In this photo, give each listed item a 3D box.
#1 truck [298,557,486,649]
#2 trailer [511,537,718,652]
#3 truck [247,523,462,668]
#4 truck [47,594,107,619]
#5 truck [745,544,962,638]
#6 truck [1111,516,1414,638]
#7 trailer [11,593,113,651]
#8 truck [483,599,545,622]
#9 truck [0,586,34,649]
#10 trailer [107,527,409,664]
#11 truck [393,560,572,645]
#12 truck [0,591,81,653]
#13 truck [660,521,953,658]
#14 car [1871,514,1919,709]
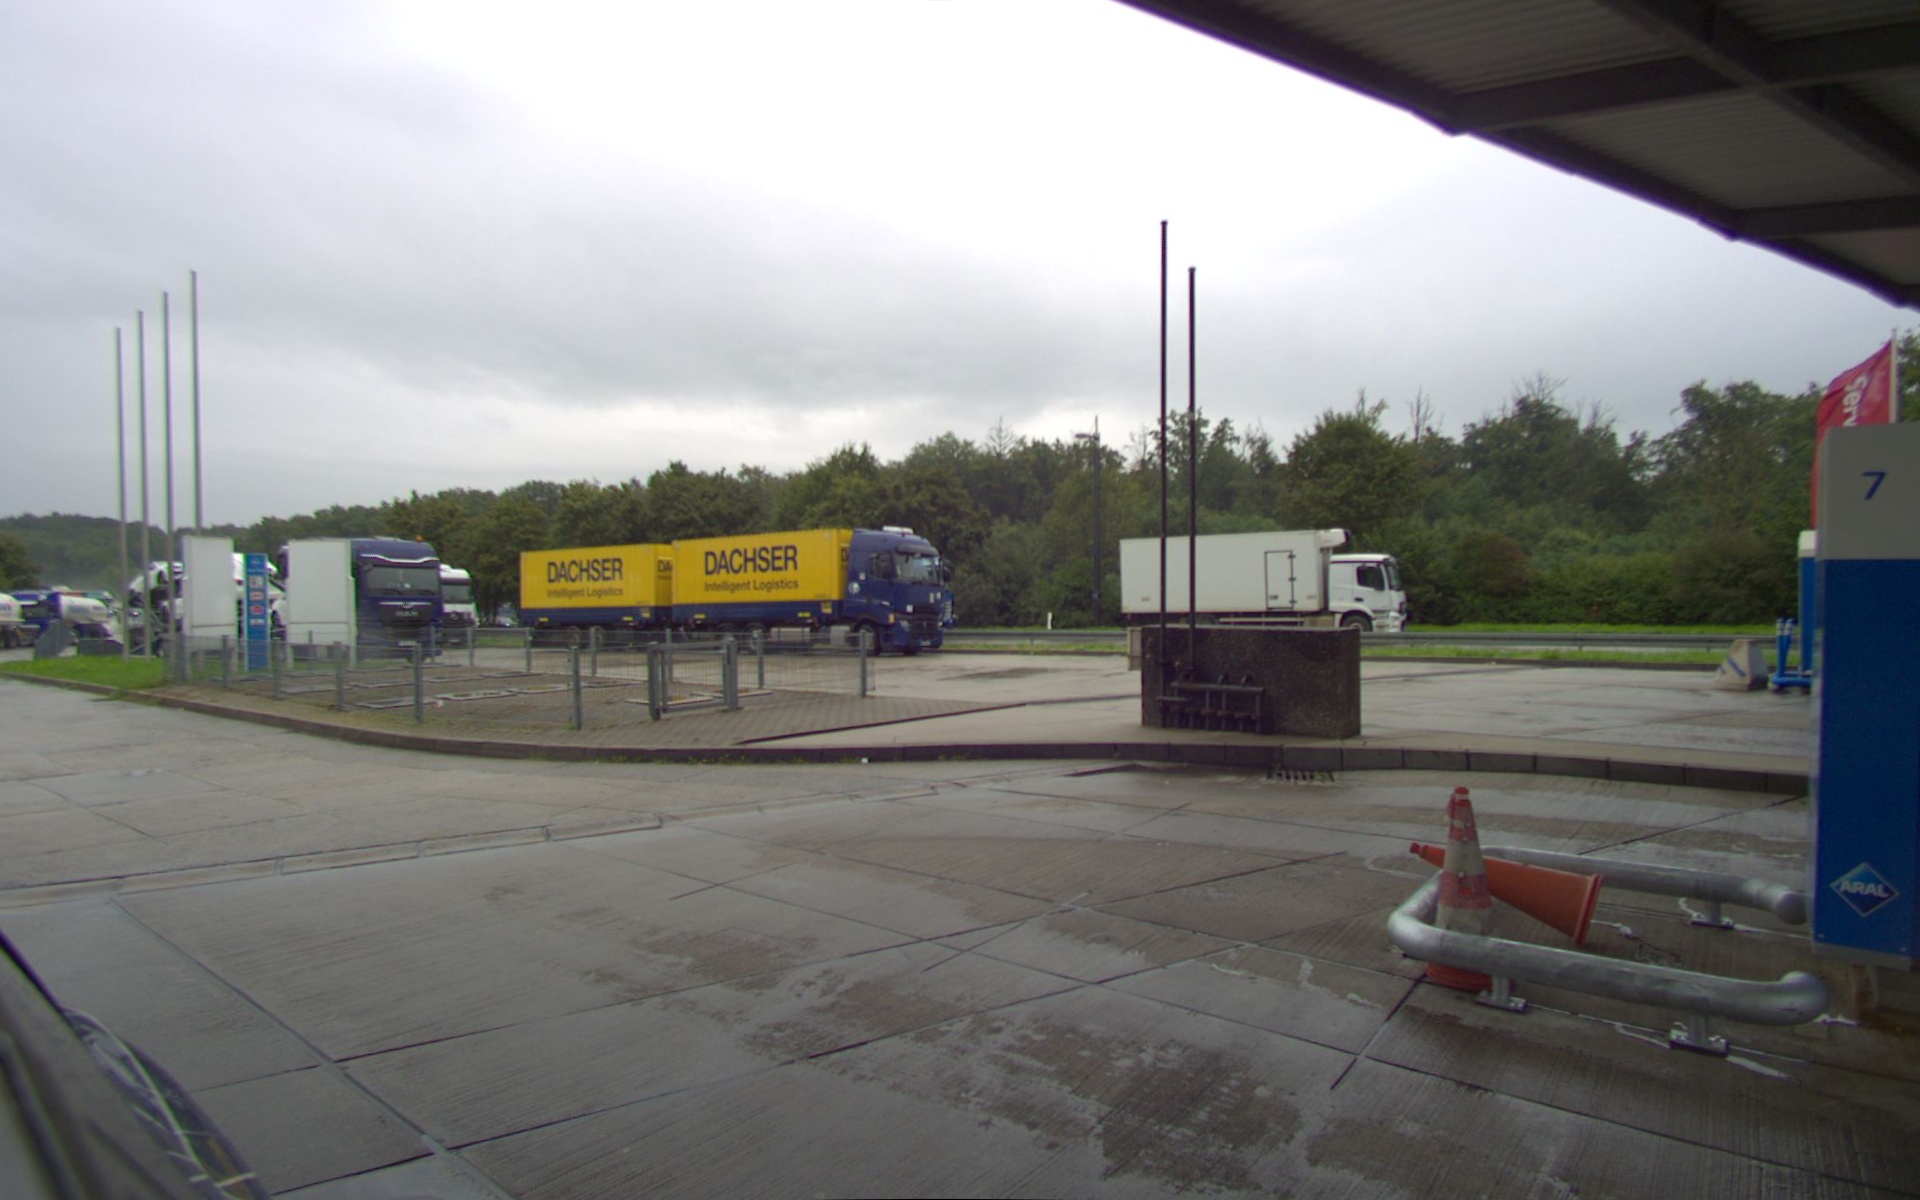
[{"bbox_3d":[-27.310,0.184,48.447,10.433,4.063,2.961,-1,0,30],"label":"truck"},{"bbox_3d":[-13.555,-0.158,39.290,8.833,4.063,2.743,-1,0,33],"label":"trailer"},{"bbox_3d":[-19.002,-0.108,31.622,7.244,4.063,2.957,-1,0,34],"label":"truck"},{"bbox_3d":[-135.748,1.087,155.510,14.626,3.591,3.215,-1,-1,34],"label":"truck"},{"bbox_3d":[-5.148,-0.336,47.691,10.433,4.063,2.961,-1,0,30],"label":"truck"},{"bbox_3d":[11.064,-0.724,37.700,10.433,4.063,2.961,-1,0,30],"label":"truck"},{"bbox_3d":[-62.278,1.440,70.483,2.854,3.666,10.605,-1,0,-28],"label":"trailer"},{"bbox_3d":[-63.332,1.508,143.690,10.312,3.159,2.718,-1,0,32],"label":"truck"},{"bbox_3d":[-55.567,1.022,55.017,3.196,3.591,12.013,-1,0,-19],"label":"truck"},{"bbox_3d":[-25.426,-0.051,35.925,16.563,4.063,2.957,-1,0,34],"label":"trailer"},{"bbox_3d":[-24.789,0.150,52.275,10.433,4.063,2.961,-1,0,30],"label":"truck"},{"bbox_3d":[-59.433,1.376,64.996,3.000,3.796,6.486,-1,0,-27],"label":"truck"},{"bbox_3d":[-5.399,-0.262,33.956,10.608,4.063,2.743,-1,0,33],"label":"truck"},{"bbox_3d":[14.859,0.120,12.372,5.272,2.482,2.298,-1,-2,37],"label":"car"}]
